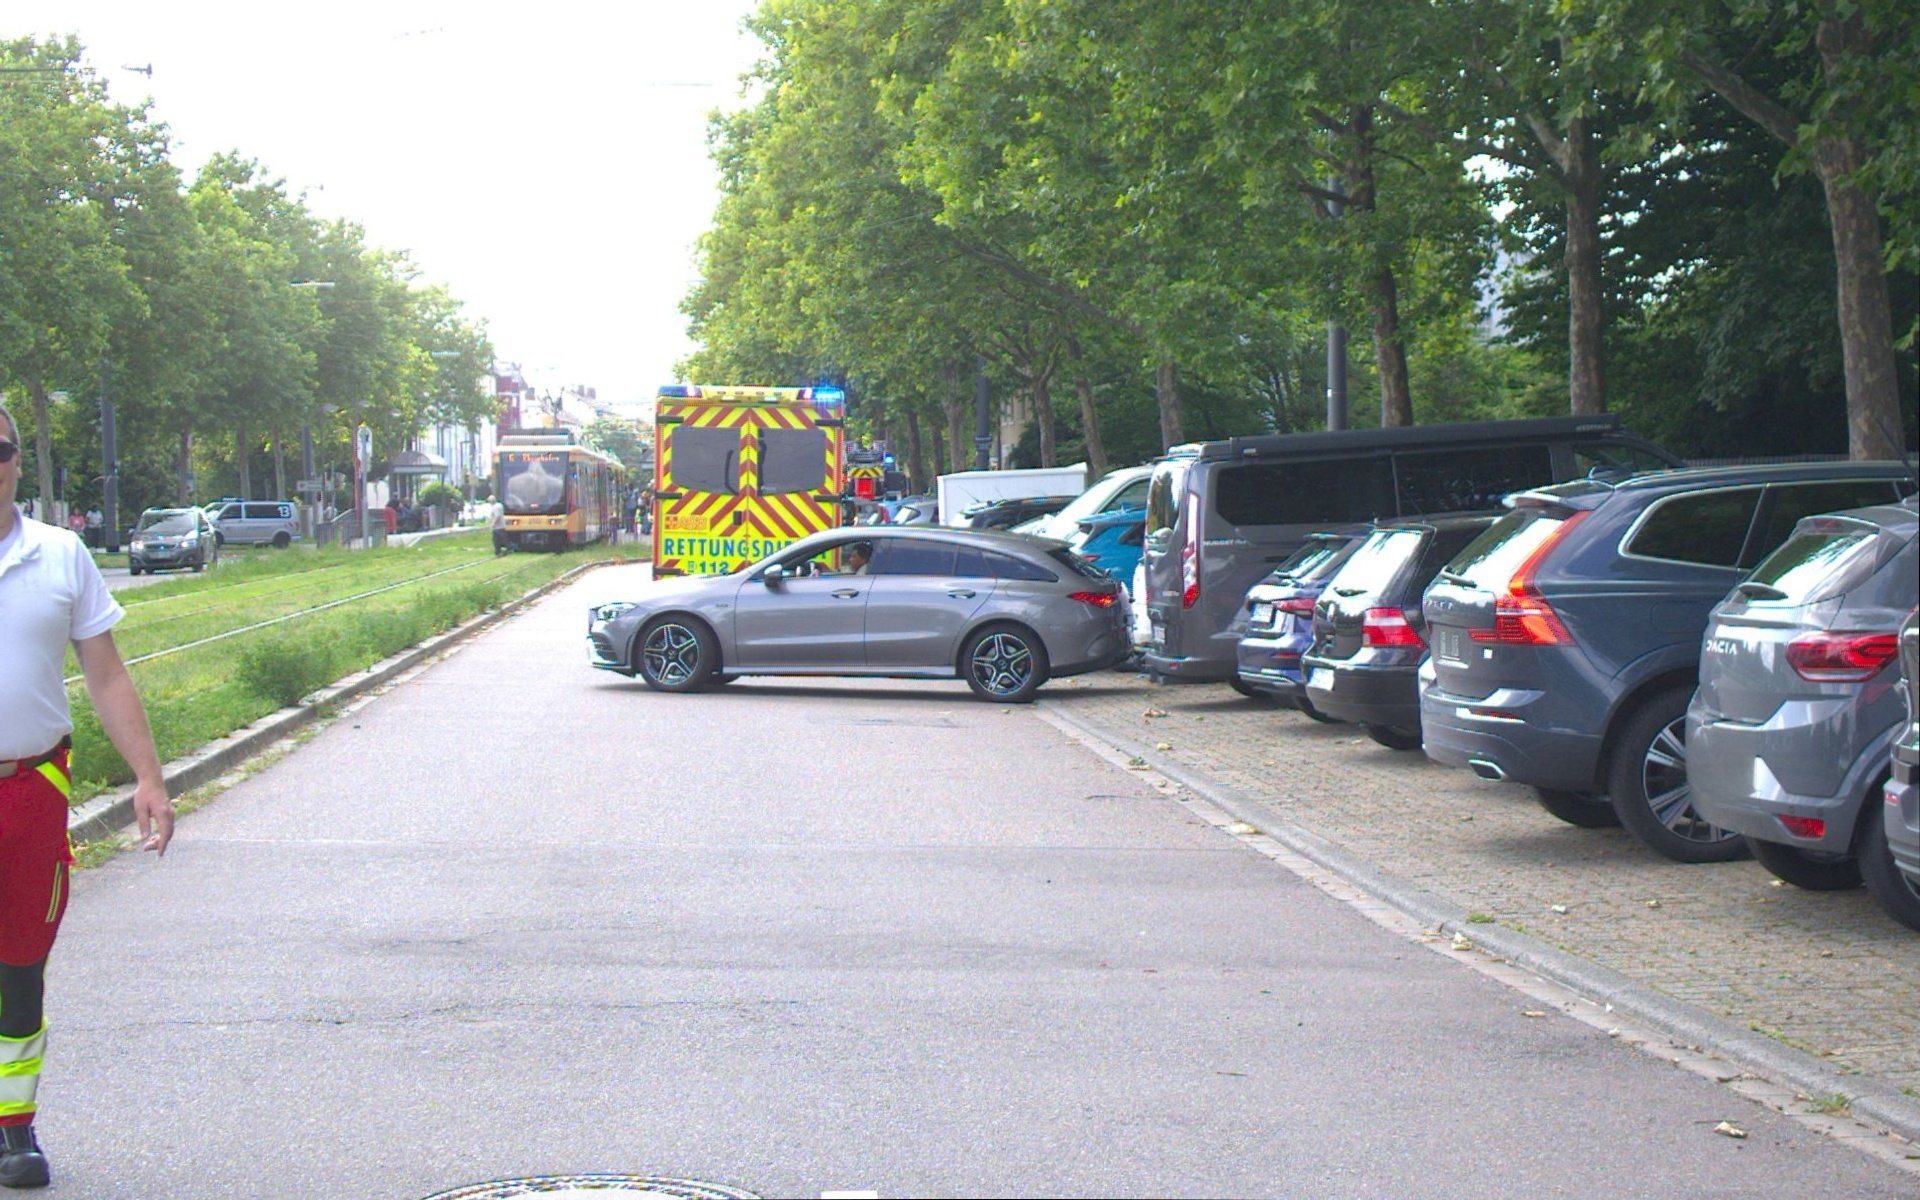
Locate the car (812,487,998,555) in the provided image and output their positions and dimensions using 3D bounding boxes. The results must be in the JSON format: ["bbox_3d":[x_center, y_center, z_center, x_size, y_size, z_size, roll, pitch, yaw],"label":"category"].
[{"bbox_3d":[-1.438,-2.033,88.267,4.544,1.603,1.856,-2,2,-7],"label":"car"}]

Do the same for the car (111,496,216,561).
[{"bbox_3d":[-20.490,-1.858,88.586,1.993,1.552,4.371,-2,2,-5],"label":"car"}]

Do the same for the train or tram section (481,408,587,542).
[{"bbox_3d":[-12.075,-3.491,97.852,2.511,3.572,7.446,-2,1,-4],"label":"train or tram section"}]

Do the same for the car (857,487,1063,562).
[{"bbox_3d":[-0.015,-1.762,80.105,4.544,1.603,1.856,-2,2,-7],"label":"car"}]

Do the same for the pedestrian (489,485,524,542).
[{"bbox_3d":[-12.295,-2.341,93.215,0.880,1.520,0.751,1,1,-4],"label":"pedestrian"}]

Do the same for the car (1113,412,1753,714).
[{"bbox_3d":[3.577,-0.310,26.499,4.545,2.116,1.856,-2,2,-4],"label":"car"}]

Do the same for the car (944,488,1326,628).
[{"bbox_3d":[2.183,-0.552,43.614,4.544,1.603,1.856,-2,2,-7],"label":"car"}]

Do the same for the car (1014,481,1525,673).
[{"bbox_3d":[2.936,-0.246,33.040,4.544,1.654,1.856,-2,2,-8],"label":"car"}]

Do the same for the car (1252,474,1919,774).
[{"bbox_3d":[3.943,0.095,20.664,3.964,1.600,1.757,-2,2,-14],"label":"car"}]

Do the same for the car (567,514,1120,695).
[{"bbox_3d":[-0.936,0.012,29.138,4.454,1.381,1.766,1,1,6],"label":"car"}]

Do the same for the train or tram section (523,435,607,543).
[{"bbox_3d":[-13.749,-3.829,120.113,2.511,3.572,7.446,-2,1,-4],"label":"train or tram section"}]

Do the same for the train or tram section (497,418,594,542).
[{"bbox_3d":[-12.640,-3.604,105.264,2.511,3.572,7.446,-2,1,-4],"label":"train or tram section"}]

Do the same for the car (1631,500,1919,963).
[{"bbox_3d":[4.799,0.365,12.332,4.380,1.496,1.756,-2,2,-2],"label":"car"}]

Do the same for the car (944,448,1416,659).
[{"bbox_3d":[2.230,-0.502,35.533,4.544,1.994,1.856,-2,2,-7],"label":"car"}]

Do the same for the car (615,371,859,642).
[{"bbox_3d":[-2.641,-1.129,41.859,2.641,2.956,6.300,2,1,-2],"label":"car"}]

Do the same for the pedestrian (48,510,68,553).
[{"bbox_3d":[-29.643,-2.263,113.032,0.422,1.409,0.467,0,2,21],"label":"pedestrian"}]

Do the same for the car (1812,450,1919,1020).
[{"bbox_3d":[5.042,0.317,9.863,4.657,1.620,1.848,-2,2,-7],"label":"car"}]

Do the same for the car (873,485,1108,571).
[{"bbox_3d":[0.611,-1.487,70.276,4.544,1.603,1.856,-2,2,-7],"label":"car"}]

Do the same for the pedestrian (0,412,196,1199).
[{"bbox_3d":[-2.072,0.459,7.200,0.803,1.680,0.851,-1,1,-21],"label":"pedestrian"}]

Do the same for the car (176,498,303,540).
[{"bbox_3d":[-28.807,-3.248,137.542,4.615,1.627,1.882,-2,2,-43],"label":"car"}]

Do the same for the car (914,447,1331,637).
[{"bbox_3d":[1.861,-0.694,40.111,4.544,2.036,1.856,-2,2,-7],"label":"car"}]

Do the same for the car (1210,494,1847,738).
[{"bbox_3d":[3.823,0.082,23.516,3.965,1.489,1.756,-2,1,-4],"label":"car"}]

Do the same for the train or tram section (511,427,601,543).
[{"bbox_3d":[-13.198,-3.717,112.689,2.511,3.572,7.446,-2,1,-4],"label":"train or tram section"}]

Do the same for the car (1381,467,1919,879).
[{"bbox_3d":[4.177,0.240,15.017,4.380,1.634,1.756,-2,2,-2],"label":"car"}]

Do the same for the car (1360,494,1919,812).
[{"bbox_3d":[4.234,0.219,17.951,3.965,1.489,1.756,-2,2,-4],"label":"car"}]

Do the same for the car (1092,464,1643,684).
[{"bbox_3d":[3.560,-0.253,30.538,4.545,1.760,1.856,-2,2,-4],"label":"car"}]
